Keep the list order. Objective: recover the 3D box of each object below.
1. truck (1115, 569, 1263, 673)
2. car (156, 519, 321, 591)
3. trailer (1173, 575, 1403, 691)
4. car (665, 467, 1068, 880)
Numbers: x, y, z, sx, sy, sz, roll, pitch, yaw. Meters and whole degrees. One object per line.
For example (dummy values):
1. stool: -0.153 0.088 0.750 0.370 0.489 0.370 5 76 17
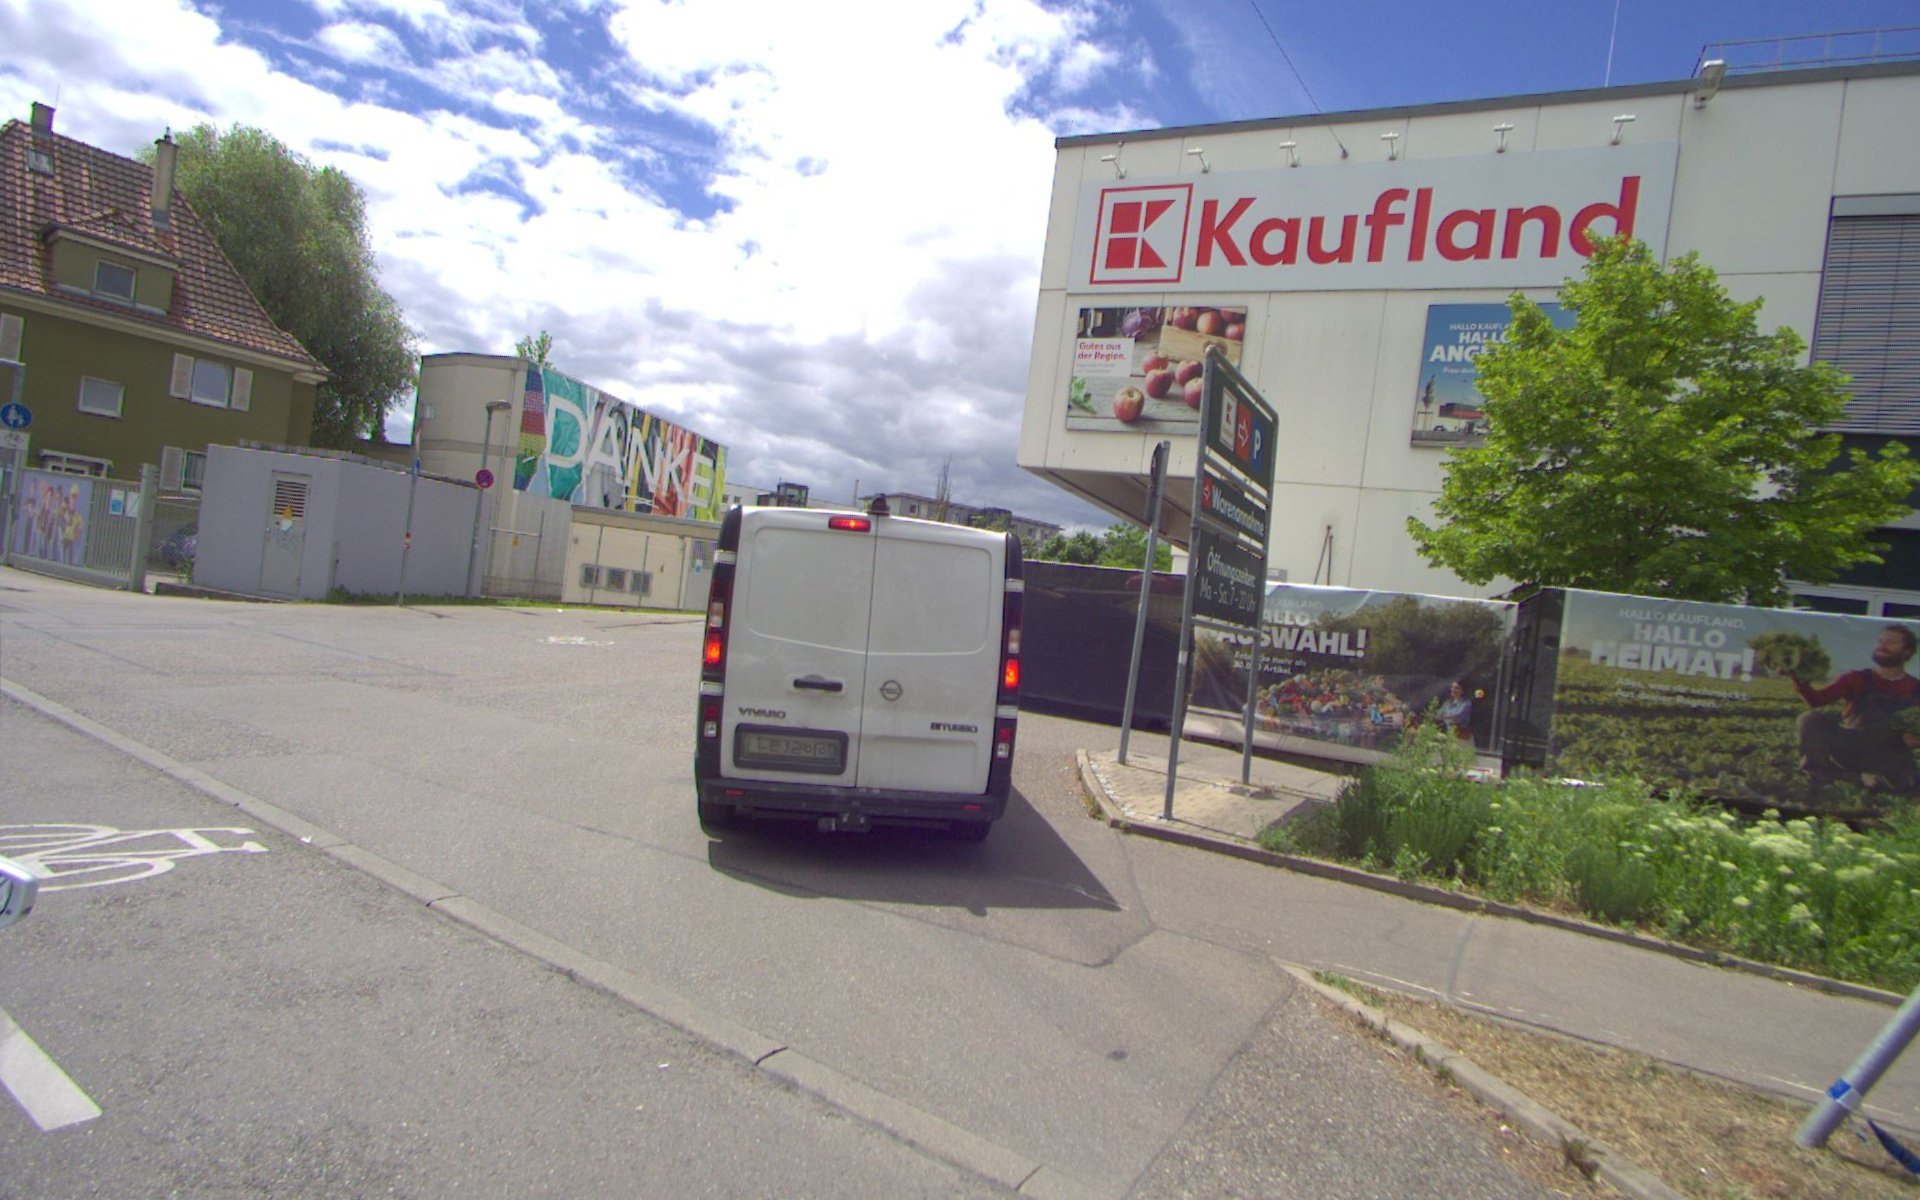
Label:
1. truck: 10.389 0.961 45.556 5.797 3.907 2.604 7 -1 23
2. car: -21.311 -1.295 29.831 1.631 1.512 3.510 8 -1 32
3. trailer: 14.218 1.404 43.903 8.901 3.907 2.604 7 -1 23
4. car: -0.846 0.306 7.959 1.965 2.051 5.339 5 2 -8
